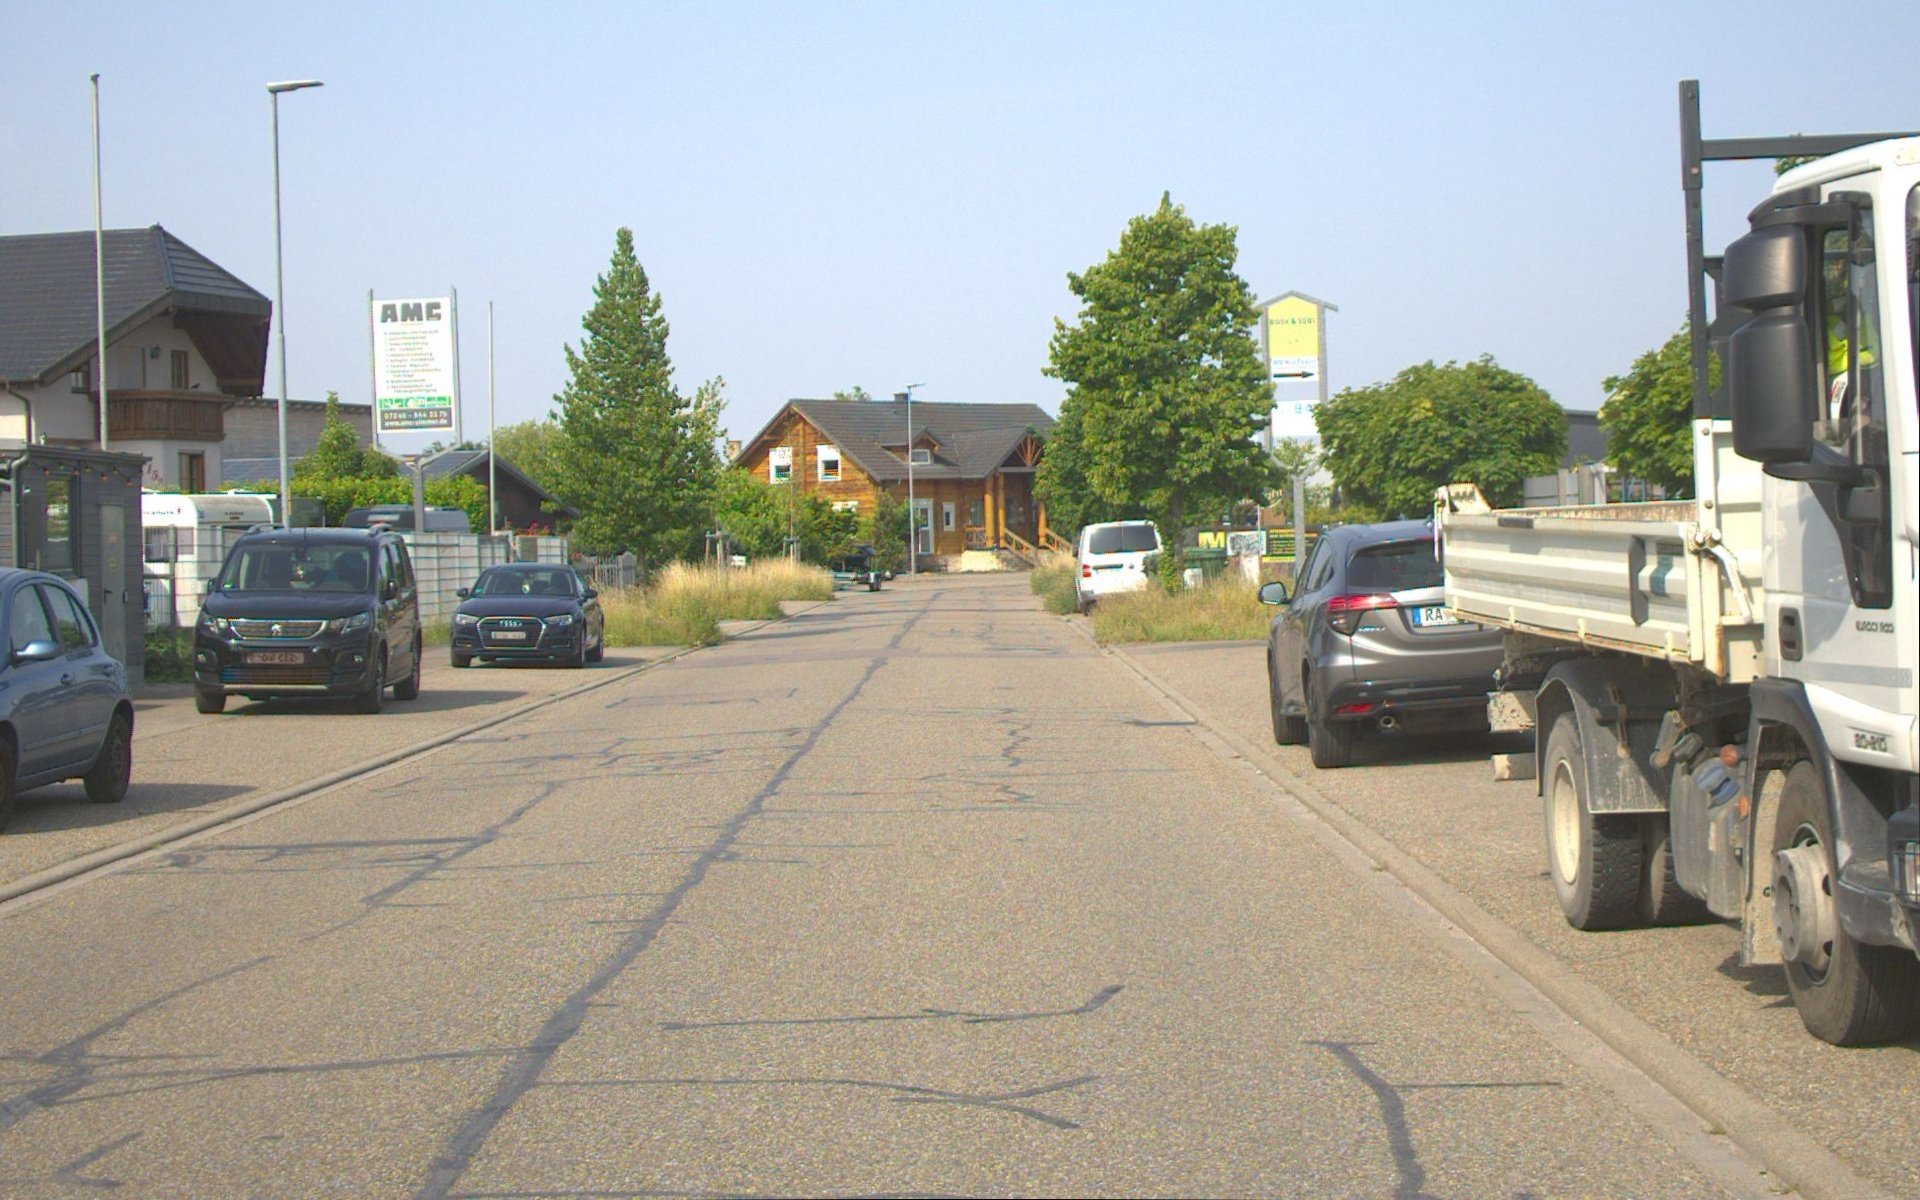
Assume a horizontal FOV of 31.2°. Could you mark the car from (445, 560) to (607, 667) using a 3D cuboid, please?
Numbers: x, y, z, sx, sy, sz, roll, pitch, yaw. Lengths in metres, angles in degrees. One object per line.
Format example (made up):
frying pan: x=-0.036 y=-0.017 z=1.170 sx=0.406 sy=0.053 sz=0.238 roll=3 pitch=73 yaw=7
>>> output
car: x=-5.946 y=0.158 z=47.431 sx=1.800 sy=1.382 sz=3.638 roll=0 pitch=1 yaw=0

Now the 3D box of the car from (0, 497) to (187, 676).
car: x=-14.441 y=-0.179 z=52.163 sx=4.808 sy=2.577 sz=2.143 roll=-2 pitch=1 yaw=21

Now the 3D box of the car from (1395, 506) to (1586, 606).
car: x=9.075 y=-0.765 z=58.885 sx=3.144 sy=1.574 sz=1.392 roll=-2 pitch=1 yaw=9

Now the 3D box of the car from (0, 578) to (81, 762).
car: x=-9.006 y=0.532 z=27.437 sx=3.587 sy=1.409 sz=1.762 roll=0 pitch=1 yaw=-3

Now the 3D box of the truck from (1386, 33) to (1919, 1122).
truck: x=3.253 y=-0.143 z=11.753 sx=2.359 sy=2.672 sz=6.512 roll=-2 pitch=1 yaw=-3

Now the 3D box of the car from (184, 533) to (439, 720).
car: x=-6.469 y=0.213 z=34.704 sx=1.800 sy=1.768 sz=4.203 roll=0 pitch=1 yaw=0

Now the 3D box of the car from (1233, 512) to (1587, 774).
car: x=2.990 y=0.254 z=23.631 sx=1.794 sy=1.555 sz=4.000 roll=-3 pitch=1 yaw=-1

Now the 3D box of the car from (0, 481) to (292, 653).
car: x=-13.800 y=-0.521 z=55.698 sx=5.162 sy=2.577 sz=2.574 roll=-2 pitch=1 yaw=21

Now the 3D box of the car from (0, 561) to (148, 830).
car: x=-6.207 y=0.527 z=20.678 sx=1.633 sy=1.512 sz=3.605 roll=0 pitch=1 yaw=3

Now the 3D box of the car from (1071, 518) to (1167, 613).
car: x=3.380 y=-0.748 z=73.561 sx=1.837 sy=1.917 sz=3.756 roll=-2 pitch=1 yaw=1
